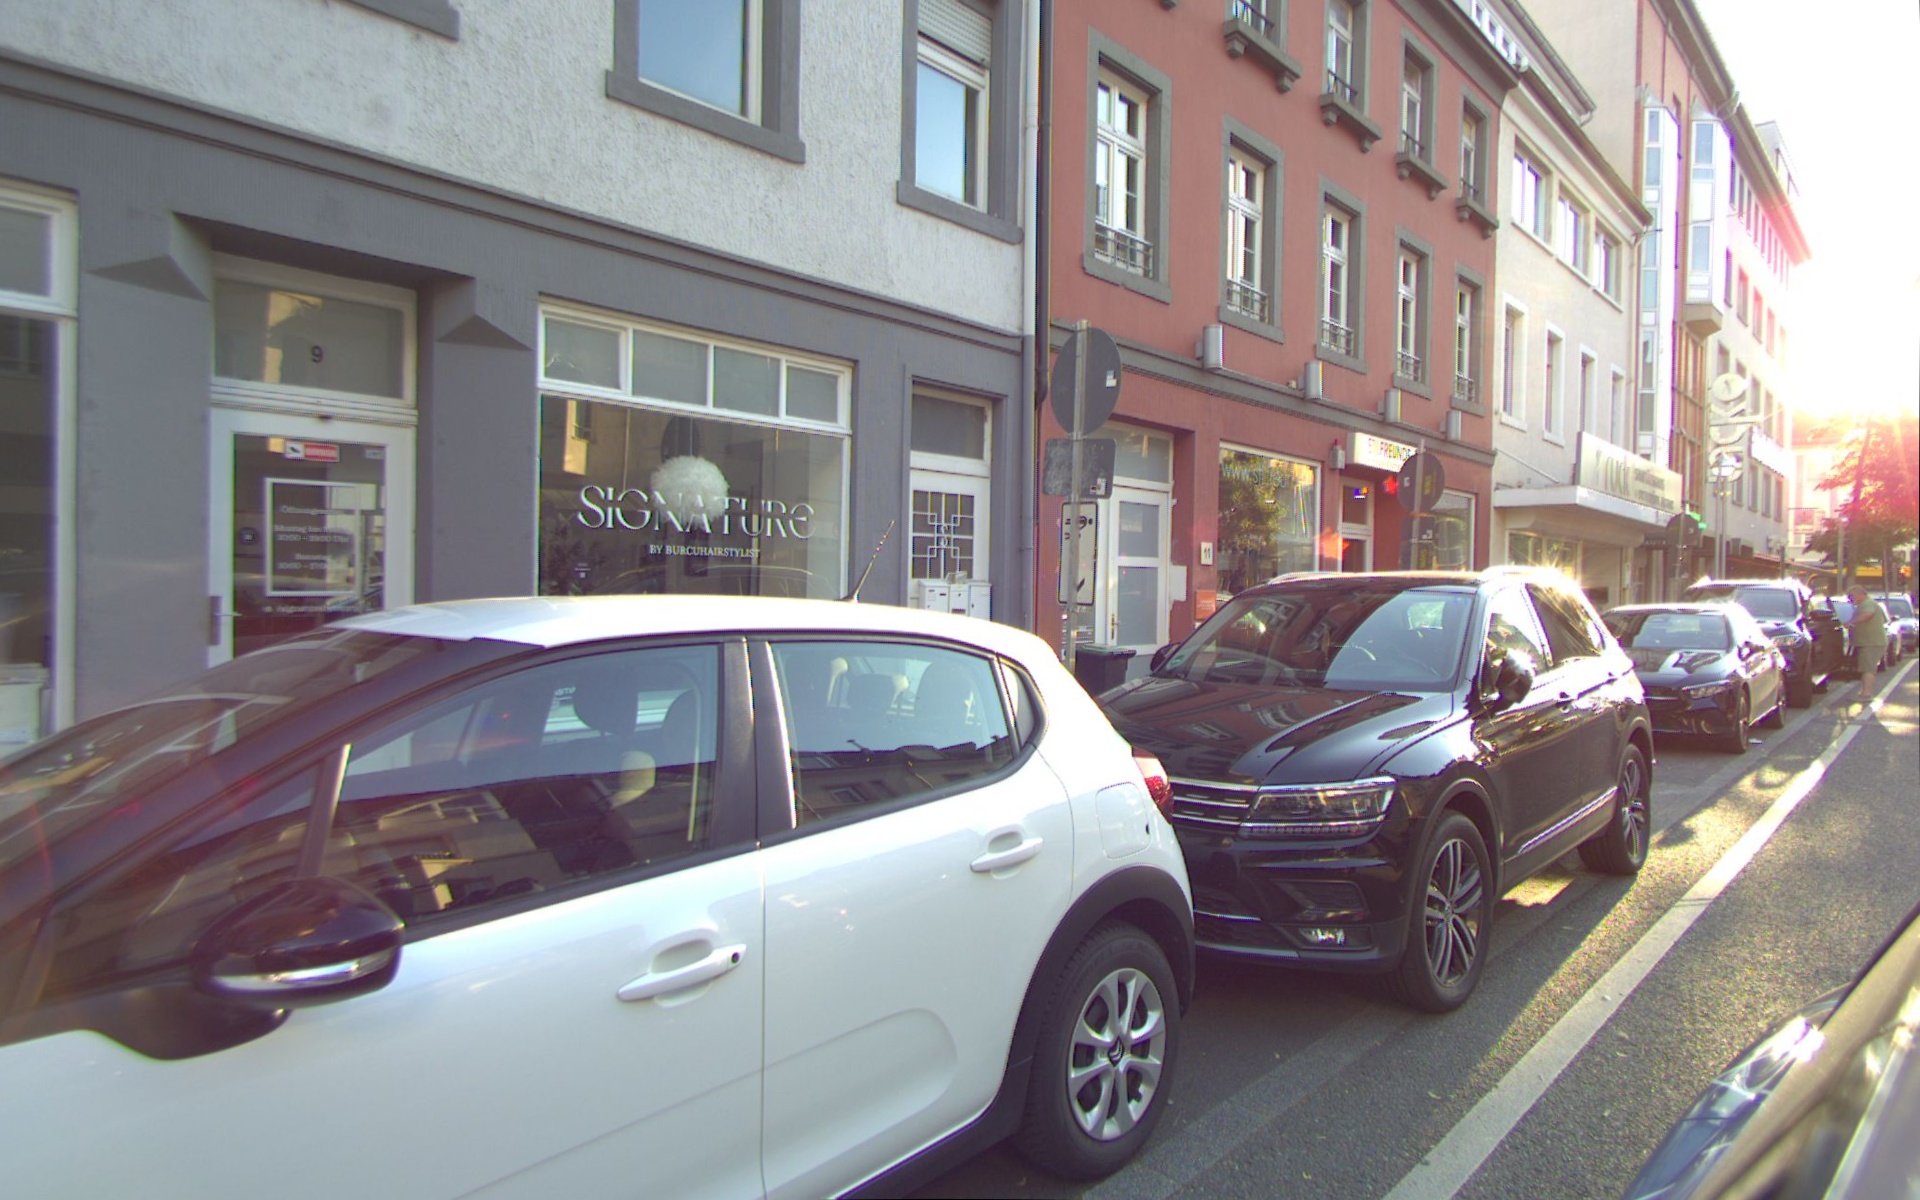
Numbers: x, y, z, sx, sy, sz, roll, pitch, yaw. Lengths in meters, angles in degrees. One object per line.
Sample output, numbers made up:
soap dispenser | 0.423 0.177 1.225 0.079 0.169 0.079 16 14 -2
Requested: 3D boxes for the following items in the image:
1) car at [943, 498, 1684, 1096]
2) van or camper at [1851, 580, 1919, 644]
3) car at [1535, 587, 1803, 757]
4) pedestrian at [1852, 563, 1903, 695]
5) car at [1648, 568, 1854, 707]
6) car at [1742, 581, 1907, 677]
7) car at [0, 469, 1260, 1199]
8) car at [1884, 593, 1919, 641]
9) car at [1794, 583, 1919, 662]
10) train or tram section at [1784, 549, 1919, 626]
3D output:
car | 2.113 0.554 5.112 4.387 1.720 1.795 -1 0 -45
van or camper | 28.397 0.307 30.812 1.786 1.796 4.491 2 2 41
car | 8.024 0.645 11.277 4.339 1.507 1.685 -1 0 -45
pedestrian | 13.397 0.401 14.793 0.483 1.881 0.532 1 1 38
car | 12.408 0.451 15.722 1.994 1.799 5.234 1 1 44
car | 17.156 0.471 20.002 4.550 1.676 1.996 0 1 -43
car | -1.107 0.645 2.203 3.869 1.593 1.663 0 0 -43
car | 32.791 0.554 34.406 3.722 1.521 1.692 0 2 -42
car | 21.509 0.456 24.173 4.407 1.675 1.995 -1 2 -45
train or tram section | 49.466 -0.634 52.194 10.297 3.858 3.130 0 0 17
